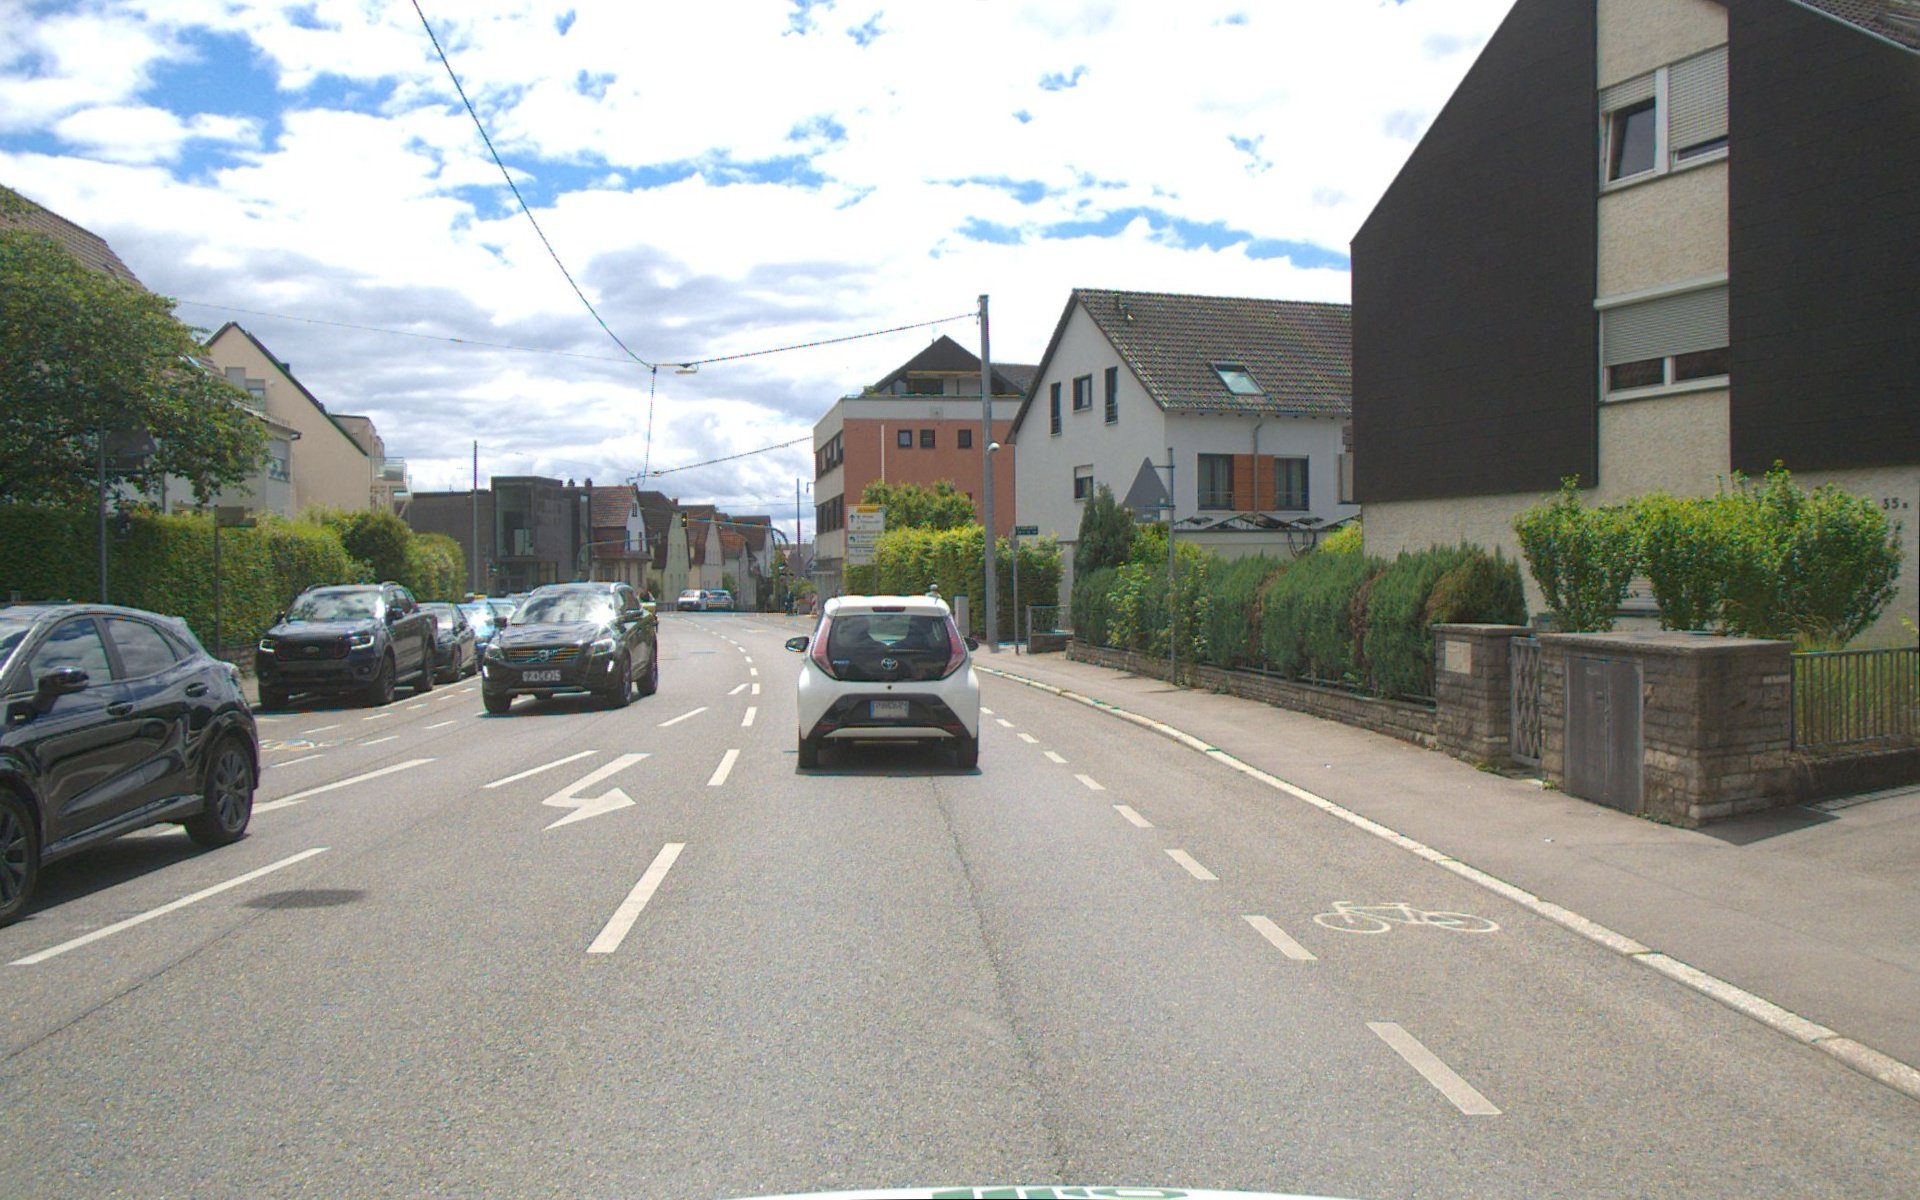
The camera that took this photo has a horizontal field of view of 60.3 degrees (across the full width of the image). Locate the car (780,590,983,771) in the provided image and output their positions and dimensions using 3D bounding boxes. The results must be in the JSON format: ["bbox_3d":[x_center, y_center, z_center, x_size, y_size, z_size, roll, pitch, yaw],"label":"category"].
[{"bbox_3d":[-0.756,0.676,15.393,1.663,1.482,3.296,1,0,-4],"label":"car"}]

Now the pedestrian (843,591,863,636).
[{"bbox_3d":[-3.983,0.484,61.755,0.591,1.633,0.834,-3,0,-10],"label":"pedestrian"}]

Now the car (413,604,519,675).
[{"bbox_3d":[-11.041,0.835,37.216,1.745,1.442,4.429,-1,0,-10],"label":"car"}]

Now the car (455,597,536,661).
[{"bbox_3d":[-11.776,0.687,42.182,1.747,1.517,4.550,-1,0,-13],"label":"car"}]

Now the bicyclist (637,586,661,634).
[{"bbox_3d":[-11.575,0.371,61.569,0.777,1.743,1.207,-1,0,-6],"label":"bicyclist"}]

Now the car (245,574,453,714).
[{"bbox_3d":[-9.668,0.620,26.653,1.956,1.928,5.394,-3,1,-8],"label":"car"}]

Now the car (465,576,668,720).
[{"bbox_3d":[-5.386,0.601,23.198,1.878,1.677,4.291,-5,0,-3],"label":"car"}]

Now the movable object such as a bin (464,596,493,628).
[{"bbox_3d":[-20.705,0.512,71.178,1.046,1.336,1.211,-1,0,-10],"label":"movable object such as a bin"}]

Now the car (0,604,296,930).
[{"bbox_3d":[-5.204,0.795,8.761,1.662,1.482,4.116,-2,0,0],"label":"car"}]

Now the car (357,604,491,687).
[{"bbox_3d":[-10.273,0.818,31.978,1.745,1.442,4.331,-1,0,-9],"label":"car"}]

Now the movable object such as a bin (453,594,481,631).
[{"bbox_3d":[-20.788,0.518,69.788,1.047,1.508,1.210,-1,0,-13],"label":"movable object such as a bin"}]

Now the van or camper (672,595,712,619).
[{"bbox_3d":[-22.010,0.575,136.045,2.071,1.959,5.288,1,0,4],"label":"van or camper"}]

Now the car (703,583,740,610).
[{"bbox_3d":[-17.946,-0.247,124.630,1.952,1.937,4.002,1,0,3],"label":"car"}]

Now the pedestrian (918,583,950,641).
[{"bbox_3d":[-0.760,0.343,47.796,0.784,1.645,0.652,-2,0,-10],"label":"pedestrian"}]

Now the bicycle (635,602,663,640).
[{"bbox_3d":[-11.574,0.769,61.650,0.847,1.324,2.657,-1,0,-7],"label":"bicycle"}]
